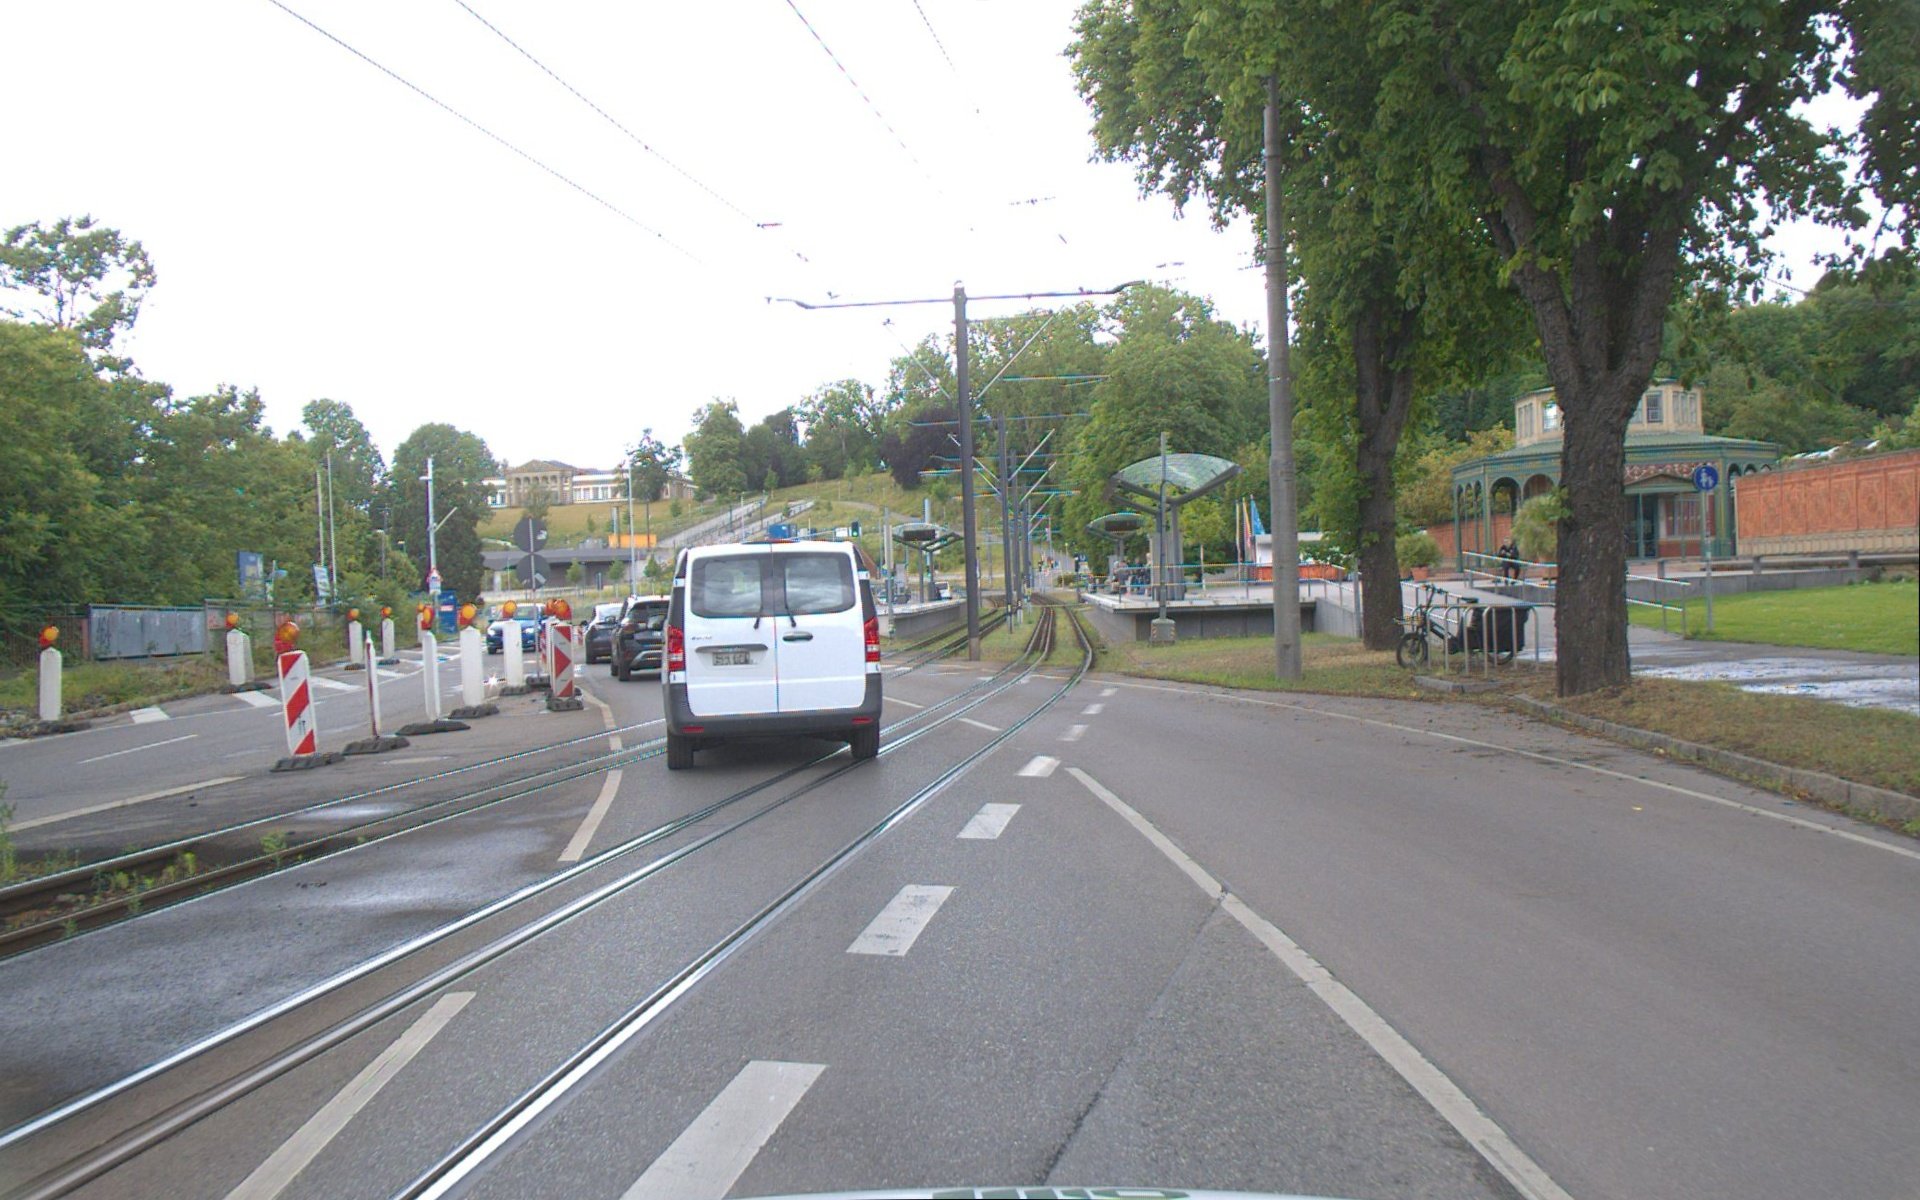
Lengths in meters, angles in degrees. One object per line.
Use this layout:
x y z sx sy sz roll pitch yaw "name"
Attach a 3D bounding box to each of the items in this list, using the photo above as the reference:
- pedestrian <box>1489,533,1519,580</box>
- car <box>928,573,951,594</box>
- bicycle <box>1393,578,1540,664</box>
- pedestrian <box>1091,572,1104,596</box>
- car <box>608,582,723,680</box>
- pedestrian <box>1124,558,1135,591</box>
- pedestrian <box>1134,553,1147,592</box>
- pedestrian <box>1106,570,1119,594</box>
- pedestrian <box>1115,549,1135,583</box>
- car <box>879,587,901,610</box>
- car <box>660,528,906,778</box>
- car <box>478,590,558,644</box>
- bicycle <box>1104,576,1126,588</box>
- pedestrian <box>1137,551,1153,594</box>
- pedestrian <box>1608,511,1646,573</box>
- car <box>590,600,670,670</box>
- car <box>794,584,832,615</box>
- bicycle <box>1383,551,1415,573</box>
14.314 -1.150 43.547 0.537 1.222 0.669 0 0 -3 "pedestrian"
-2.087 -1.641 168.830 2.156 2.049 5.149 -2 0 -2 "car"
7.486 0.307 24.522 1.949 1.178 0.741 -3 0 8 "bicycle"
7.779 -0.905 93.729 0.659 1.346 0.968 0 0 2 "pedestrian"
-5.656 0.543 32.187 1.802 1.759 4.058 -1 0 -5 "car"
8.420 -1.270 82.344 0.513 1.648 0.676 0 0 5 "pedestrian"
8.678 -1.313 79.541 0.619 1.870 0.951 0 0 5 "pedestrian"
7.768 -0.914 84.093 0.643 1.211 0.676 0 2 5 "pedestrian"
8.352 -1.738 83.577 0.843 1.706 0.760 0 0 -7 "pedestrian"
-5.708 -0.149 135.736 1.717 1.803 3.999 0 0 -1 "car"
-1.751 0.397 15.329 1.923 1.937 4.451 -1 0 -9 "car"
-13.997 0.502 52.566 1.662 1.486 3.910 -3 2 -4 "car"
13.617 -1.580 144.937 1.872 0.992 0.531 -3 0 4 "bicycle"
7.581 -1.122 67.803 0.619 1.717 0.866 0 0 3 "pedestrian"
20.455 -1.767 50.718 0.545 1.870 0.937 0 0 -43 "pedestrian"
-8.350 0.845 42.092 1.804 1.610 4.054 -1 0 -9 "car"
-8.604 -0.042 97.176 1.953 1.803 3.999 0 0 -1 "car"
21.801 -1.878 82.084 0.556 1.080 1.701 0 0 -27 "bicycle"
